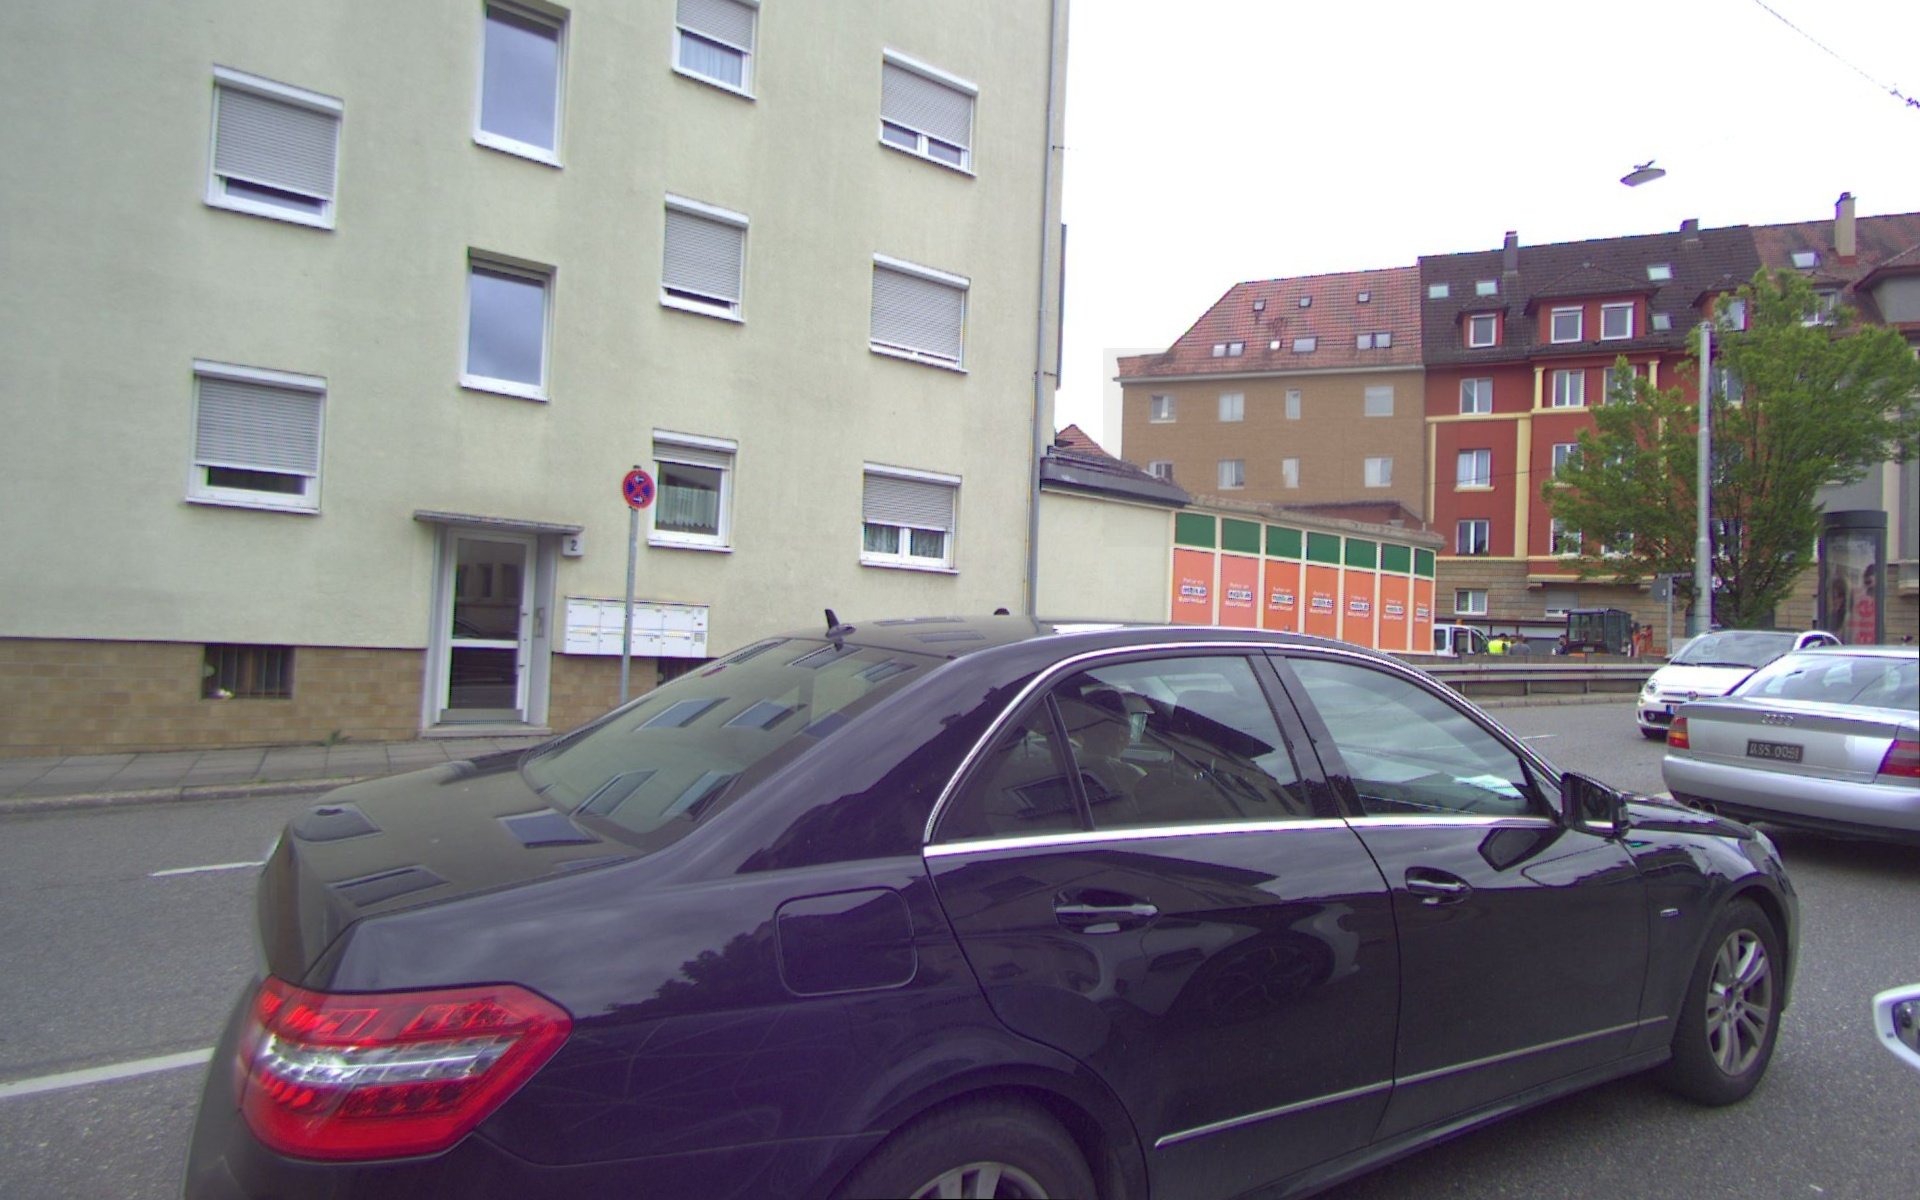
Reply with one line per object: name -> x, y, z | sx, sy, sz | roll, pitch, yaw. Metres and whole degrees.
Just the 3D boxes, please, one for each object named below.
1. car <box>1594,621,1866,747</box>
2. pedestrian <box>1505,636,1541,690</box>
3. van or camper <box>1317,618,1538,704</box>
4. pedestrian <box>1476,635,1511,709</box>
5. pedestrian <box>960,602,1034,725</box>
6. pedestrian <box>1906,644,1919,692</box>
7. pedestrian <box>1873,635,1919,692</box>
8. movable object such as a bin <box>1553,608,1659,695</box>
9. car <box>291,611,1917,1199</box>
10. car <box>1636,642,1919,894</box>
car -> 10.194, 1.062, 13.279 | 3.487, 1.466, 1.591 | 2, -3, -29
pedestrian -> 14.482, 1.616, 25.850 | 0.613, 1.381, 0.602 | 0, -2, 4
van or camper -> 14.219, 1.776, 30.837 | 5.894, 2.369, 2.686 | 0, -2, 26
pedestrian -> 15.069, 2.025, 28.387 | 0.810, 2.040, 0.680 | 0, -1, 22
pedestrian -> 0.518, 0.874, 14.137 | 0.771, 1.658, 0.683 | 1, -1, -36
pedestrian -> 27.381, 1.918, 28.475 | 0.572, 1.356, 0.576 | 1, -1, -1
pedestrian -> 26.459, 1.786, 28.318 | 0.724, 1.567, 0.795 | 1, 0, -2
movable object such as a bin -> 16.245, 1.271, 25.206 | 3.510, 2.040, 1.363 | 2, -2, -42
car -> 0.831, 0.799, 3.191 | 4.786, 1.448, 1.984 | 1, -1, -30
car -> 6.868, 0.998, 7.097 | 4.072, 1.383, 1.624 | 1, -2, -25
